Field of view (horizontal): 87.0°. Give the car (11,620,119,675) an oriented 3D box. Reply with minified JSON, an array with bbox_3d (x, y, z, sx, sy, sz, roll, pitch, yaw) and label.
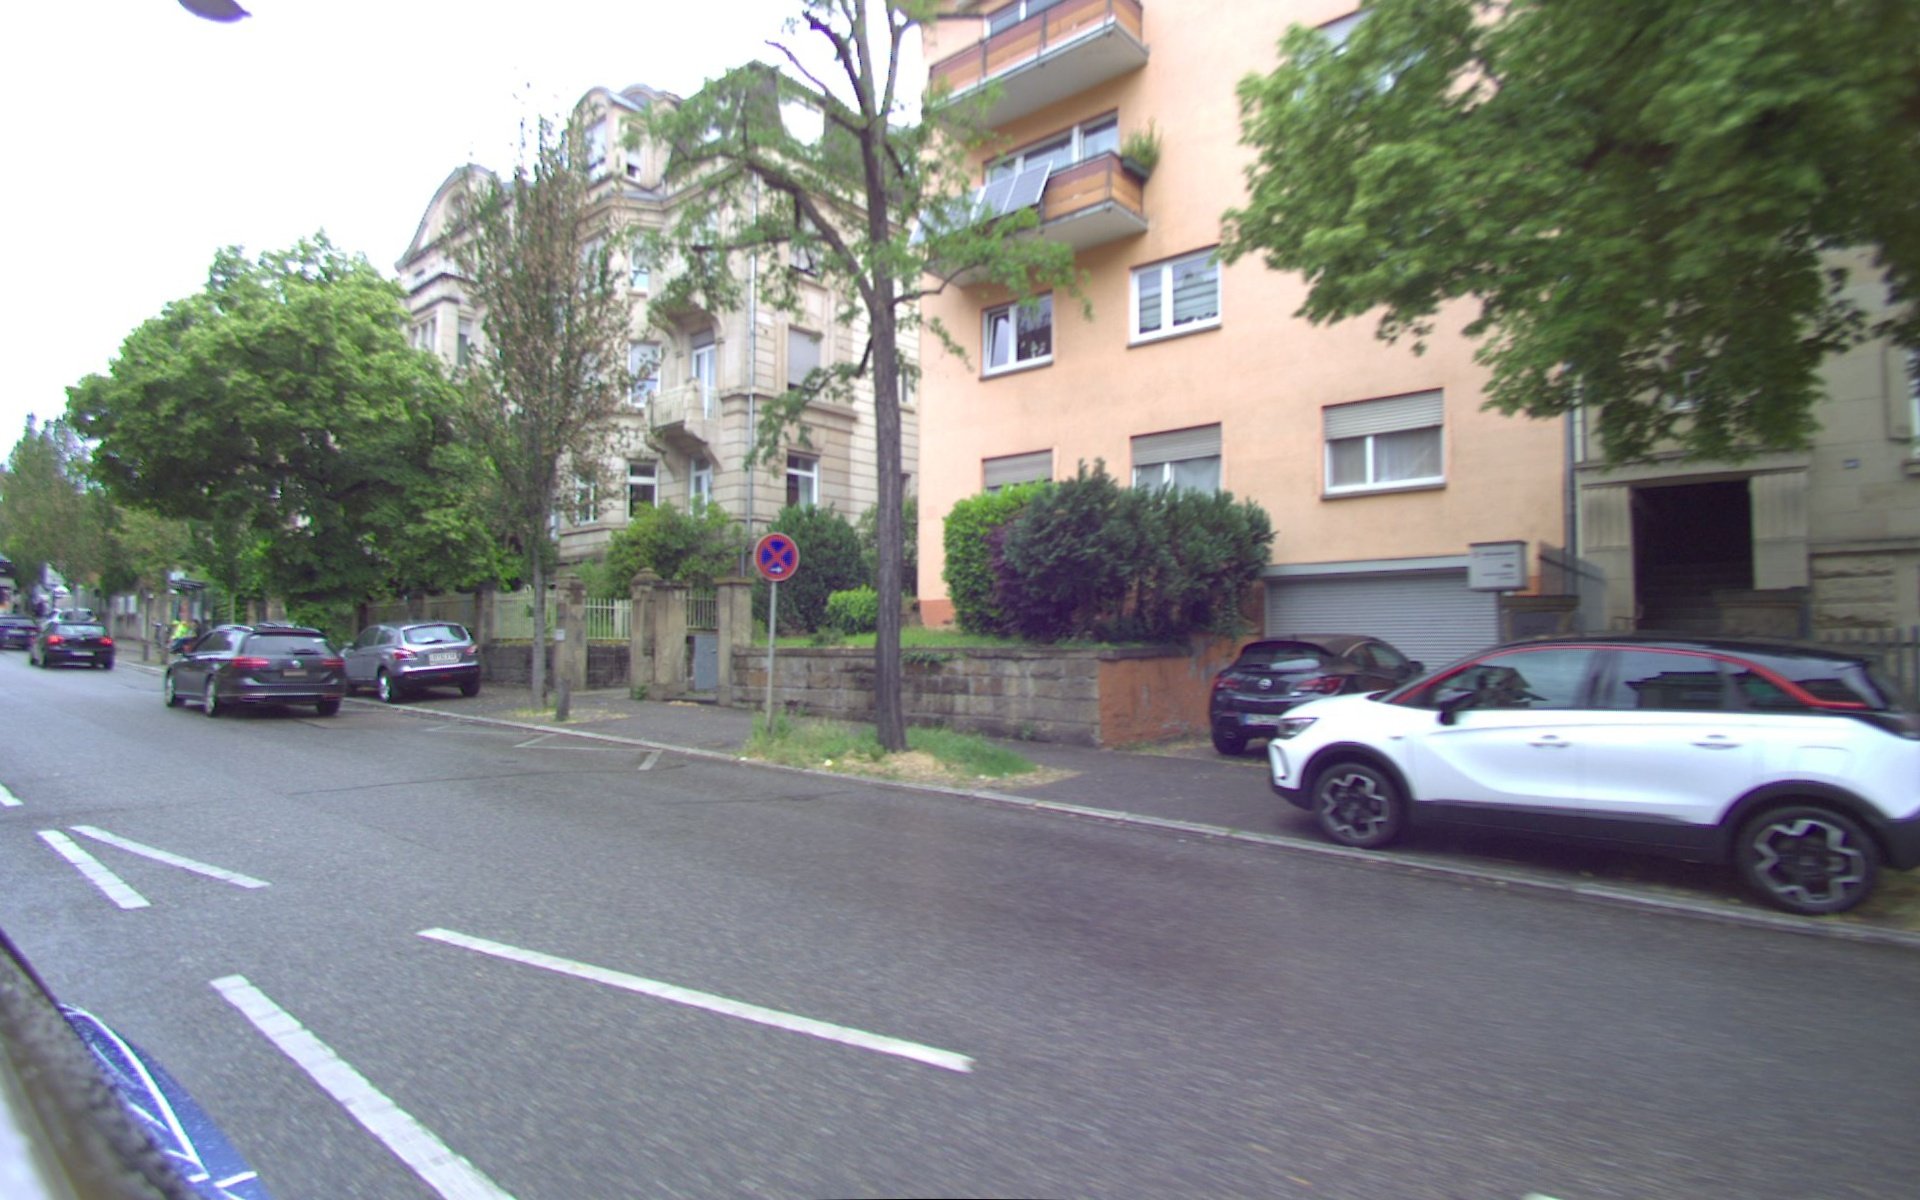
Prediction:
[{"bbox_3d":[-28.309,1.435,31.956,4.584,1.529,1.755,0,0,38],"label":"car"}]

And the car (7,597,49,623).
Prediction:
[{"bbox_3d":[-61.837,0.634,67.136,1.973,1.607,3.831,-2,2,-44],"label":"car"}]

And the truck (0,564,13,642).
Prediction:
[{"bbox_3d":[-51.972,0.110,53.147,9.310,3.884,2.618,0,-4,44],"label":"truck"}]

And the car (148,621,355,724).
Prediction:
[{"bbox_3d":[-12.152,1.164,17.239,4.546,1.529,1.796,-1,-4,41],"label":"car"}]

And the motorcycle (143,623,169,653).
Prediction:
[{"bbox_3d":[-35.087,1.669,44.168,1.763,1.246,0.648,0,-2,44],"label":"motorcycle"}]

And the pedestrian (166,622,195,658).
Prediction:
[{"bbox_3d":[-31.261,1.607,40.596,0.649,1.443,0.758,0,-2,43],"label":"pedestrian"}]

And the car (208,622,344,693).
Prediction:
[{"bbox_3d":[-18.020,1.454,26.609,4.296,1.571,1.725,1,1,38],"label":"car"}]

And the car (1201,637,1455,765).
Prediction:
[{"bbox_3d":[4.766,1.159,12.784,1.835,1.337,3.947,-1,-3,39],"label":"car"}]

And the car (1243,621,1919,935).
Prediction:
[{"bbox_3d":[4.406,0.994,7.212,4.300,1.571,1.723,1,0,41],"label":"car"}]

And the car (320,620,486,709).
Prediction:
[{"bbox_3d":[-11.788,1.269,21.306,4.300,1.571,1.723,1,0,41],"label":"car"}]

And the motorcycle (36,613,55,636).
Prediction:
[{"bbox_3d":[-52.585,1.388,58.175,1.983,1.245,0.648,0,-2,44],"label":"motorcycle"}]

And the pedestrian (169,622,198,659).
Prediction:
[{"bbox_3d":[-30.908,1.623,40.286,0.649,1.443,0.758,0,-2,43],"label":"pedestrian"}]

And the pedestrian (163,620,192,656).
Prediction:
[{"bbox_3d":[-31.705,1.545,41.023,0.760,1.443,0.758,0,-2,43],"label":"pedestrian"}]

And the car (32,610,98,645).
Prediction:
[{"bbox_3d":[-43.669,1.296,49.364,4.297,1.571,1.724,1,0,39],"label":"car"}]

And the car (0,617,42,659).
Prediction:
[{"bbox_3d":[-39.672,1.516,41.940,4.745,1.478,1.754,2,-3,41],"label":"car"}]
